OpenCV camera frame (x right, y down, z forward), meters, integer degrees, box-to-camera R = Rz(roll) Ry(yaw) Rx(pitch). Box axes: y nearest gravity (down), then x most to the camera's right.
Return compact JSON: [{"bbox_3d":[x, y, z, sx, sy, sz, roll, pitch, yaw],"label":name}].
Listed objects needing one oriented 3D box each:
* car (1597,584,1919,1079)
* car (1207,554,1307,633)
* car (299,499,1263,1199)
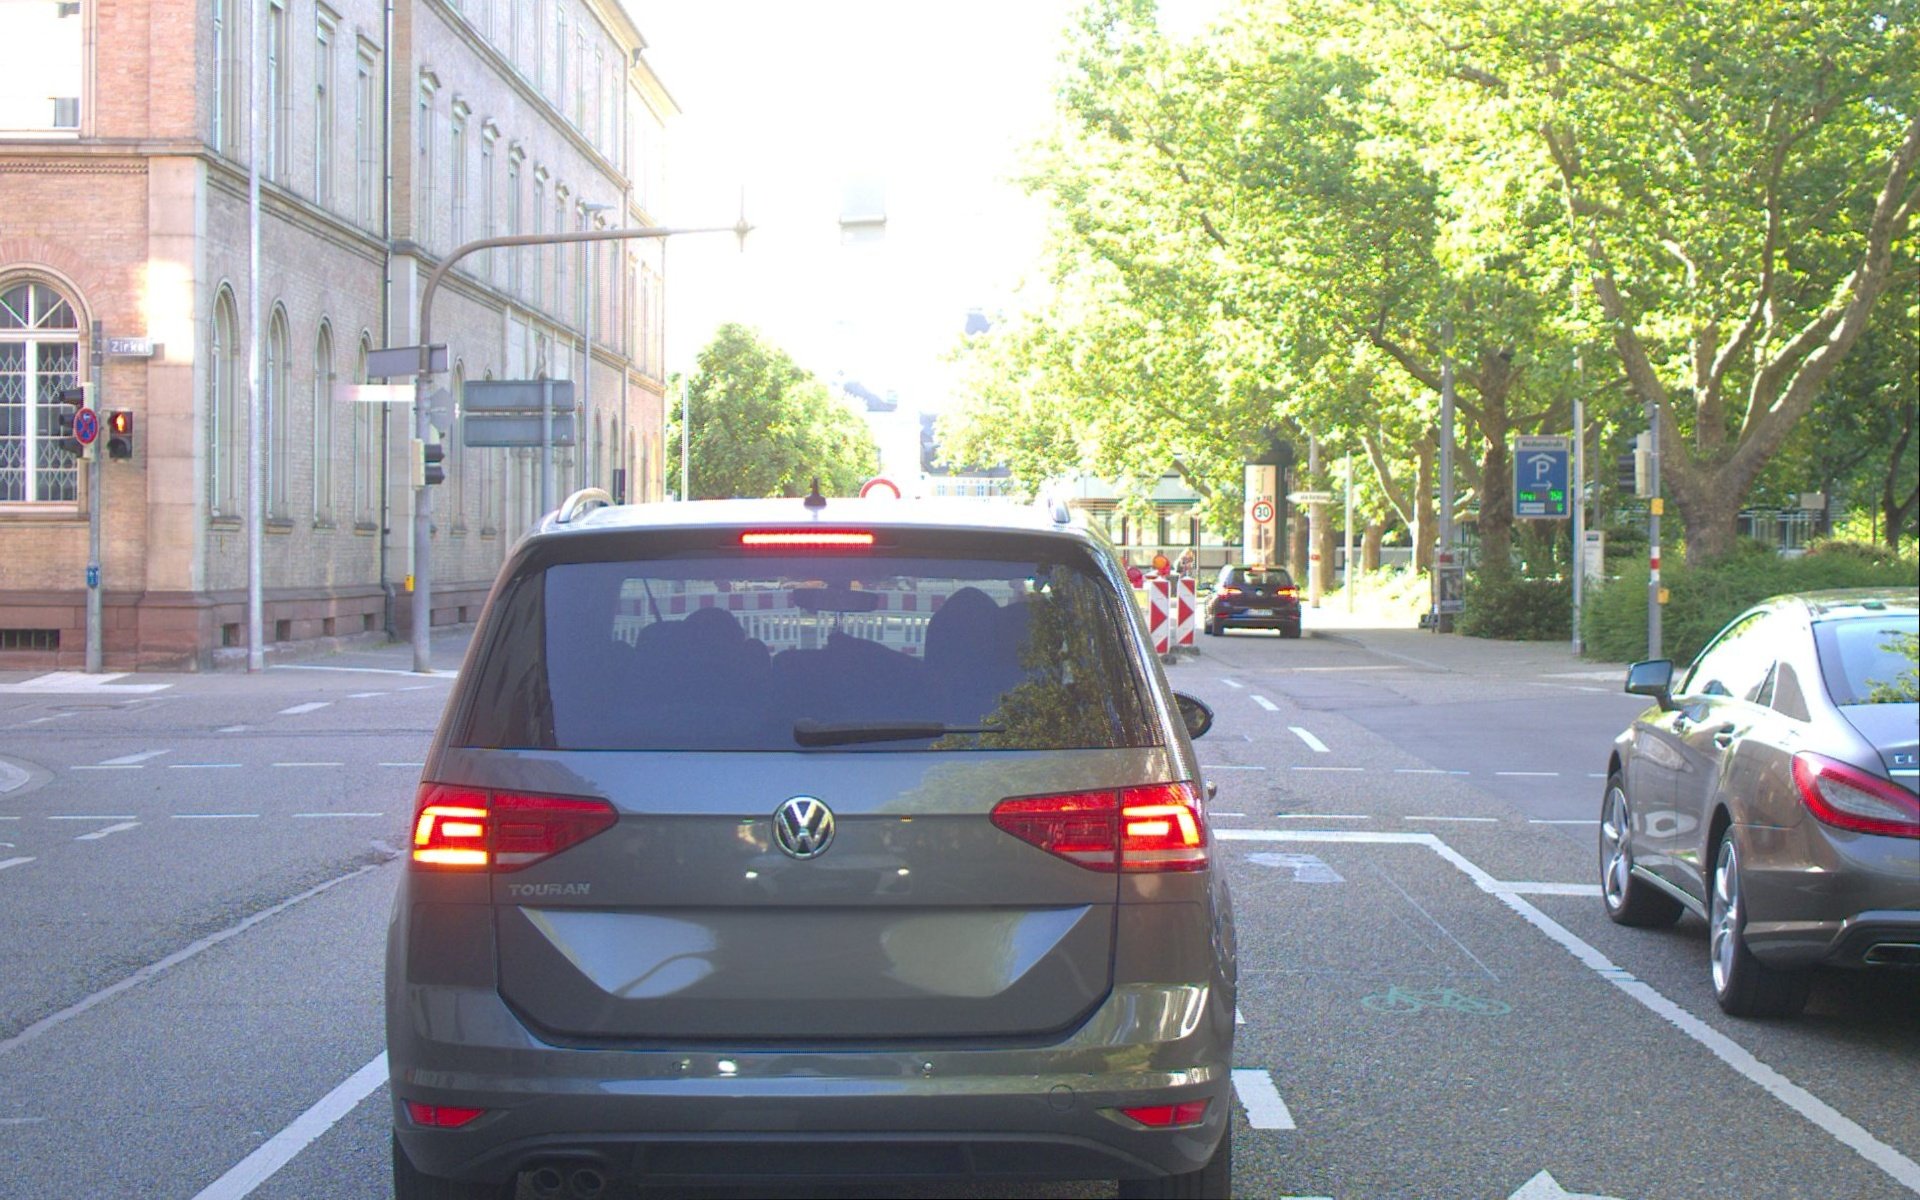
[{"bbox_3d":[3.477,0.685,12.335,1.843,1.424,4.517,1,1,4],"label":"car"},{"bbox_3d":[5.885,-0.144,68.409,1.689,1.435,3.902,3,1,1],"label":"car"},{"bbox_3d":[-0.268,0.594,8.440,1.809,1.607,4.000,0,1,2],"label":"car"}]
